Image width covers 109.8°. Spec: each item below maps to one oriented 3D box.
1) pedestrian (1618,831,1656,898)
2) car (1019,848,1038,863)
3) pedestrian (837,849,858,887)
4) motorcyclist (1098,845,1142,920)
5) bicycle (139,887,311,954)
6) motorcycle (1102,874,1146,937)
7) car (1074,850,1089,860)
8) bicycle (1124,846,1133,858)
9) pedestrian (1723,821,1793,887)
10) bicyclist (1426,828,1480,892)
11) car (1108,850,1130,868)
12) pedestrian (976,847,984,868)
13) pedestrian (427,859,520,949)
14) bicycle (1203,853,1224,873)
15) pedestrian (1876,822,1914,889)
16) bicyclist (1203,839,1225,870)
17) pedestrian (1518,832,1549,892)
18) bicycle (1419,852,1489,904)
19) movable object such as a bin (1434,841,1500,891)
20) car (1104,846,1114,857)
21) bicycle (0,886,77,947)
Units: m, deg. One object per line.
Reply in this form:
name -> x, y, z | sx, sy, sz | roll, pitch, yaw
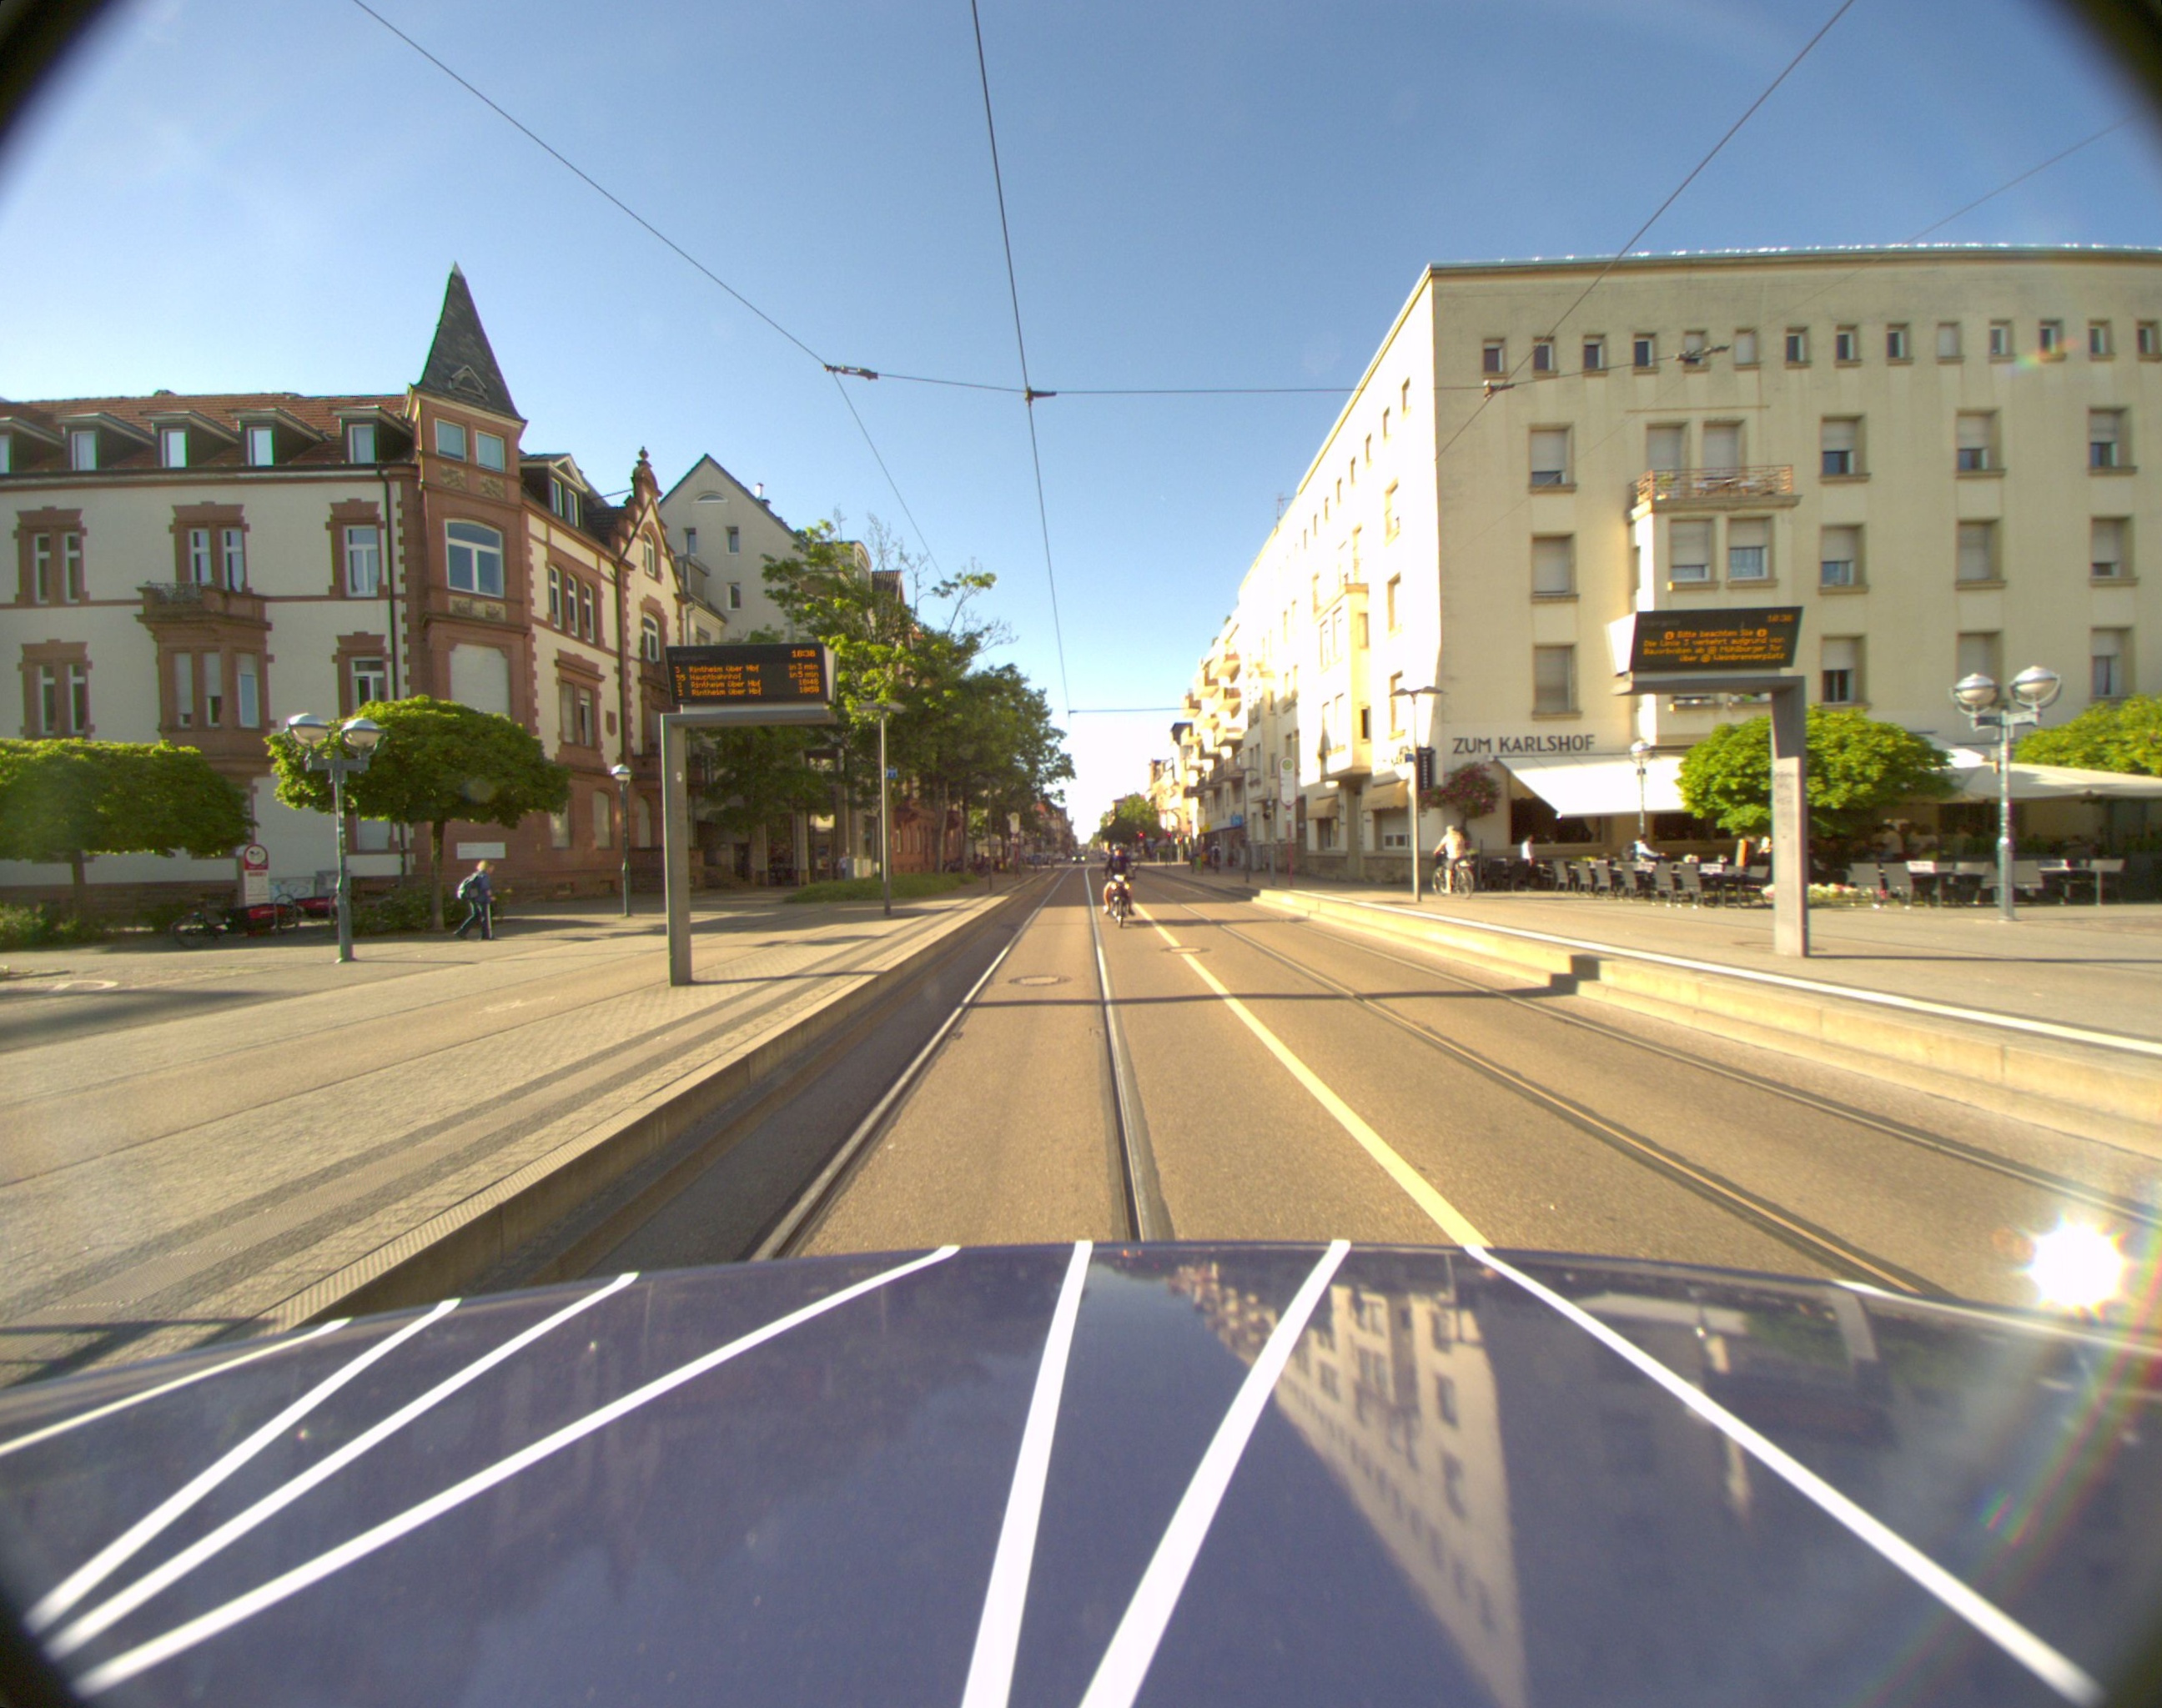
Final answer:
pedestrian -> 13.861, 0.270, 18.958 | 0.672, 1.634, 0.678 | -1, -2, 31
car -> -7.413, 0.197, 107.375 | 1.998, 2.002, 4.001 | -1, 1, 4
pedestrian -> -10.903, 0.629, 35.460 | 0.742, 1.725, 0.877 | -2, 1, -6
motorcyclist -> 0.783, 0.564, 15.551 | 0.821, 1.466, 1.114 | -1, 1, 1
bicycle -> -18.214, 1.369, 16.314 | 0.790, 1.062, 2.804 | -2, 2, -8
motorcycle -> 0.849, 1.004, 15.638 | 0.799, 1.090, 2.428 | -1, 1, 1
car -> 0.074, 0.110, 109.121 | 1.998, 1.318, 3.863 | -2, 1, 1
bicycle -> 7.169, -0.309, 113.755 | 1.227, 1.719, 3.108 | -1, 1, 5
pedestrian -> 17.107, 0.004, 19.217 | 1.066, 1.634, 0.757 | 0, -2, -4
bicyclist -> 8.687, 0.130, 17.790 | 0.829, 1.447, 0.877 | -2, 1, 3
car -> 3.328, 0.387, 67.198 | 1.671, 1.479, 3.999 | -2, 1, -1
pedestrian -> -10.068, 0.340, 75.492 | 0.653, 2.002, 0.559 | -1, 1, 3
pedestrian -> -11.941, 0.954, 14.980 | 1.070, 1.659, 0.956 | -2, 1, -12
bicycle -> 7.855, 0.514, 45.025 | 0.714, 1.119, 2.035 | -2, 1, -4
pedestrian -> 22.453, 0.048, 20.966 | 0.578, 1.813, 0.647 | -2, 1, -36
bicyclist -> 7.880, 0.016, 44.976 | 1.006, 1.783, 1.095 | -2, 1, -5
pedestrian -> 12.621, 0.230, 21.218 | 0.672, 1.634, 0.752 | -1, -2, 27
bicycle -> 8.702, 0.527, 17.815 | 0.730, 1.107, 1.977 | -2, 1, 3
movable object such as a bin -> 11.162, 0.340, 21.996 | 1.319, 1.392, 1.128 | -1, 1, -1
car -> 5.636, -0.611, 152.744 | 1.877, 2.105, 4.000 | -2, 1, 2
bicycle -> -25.835, 1.521, 17.772 | 0.746, 1.364, 2.914 | -2, 1, 1
